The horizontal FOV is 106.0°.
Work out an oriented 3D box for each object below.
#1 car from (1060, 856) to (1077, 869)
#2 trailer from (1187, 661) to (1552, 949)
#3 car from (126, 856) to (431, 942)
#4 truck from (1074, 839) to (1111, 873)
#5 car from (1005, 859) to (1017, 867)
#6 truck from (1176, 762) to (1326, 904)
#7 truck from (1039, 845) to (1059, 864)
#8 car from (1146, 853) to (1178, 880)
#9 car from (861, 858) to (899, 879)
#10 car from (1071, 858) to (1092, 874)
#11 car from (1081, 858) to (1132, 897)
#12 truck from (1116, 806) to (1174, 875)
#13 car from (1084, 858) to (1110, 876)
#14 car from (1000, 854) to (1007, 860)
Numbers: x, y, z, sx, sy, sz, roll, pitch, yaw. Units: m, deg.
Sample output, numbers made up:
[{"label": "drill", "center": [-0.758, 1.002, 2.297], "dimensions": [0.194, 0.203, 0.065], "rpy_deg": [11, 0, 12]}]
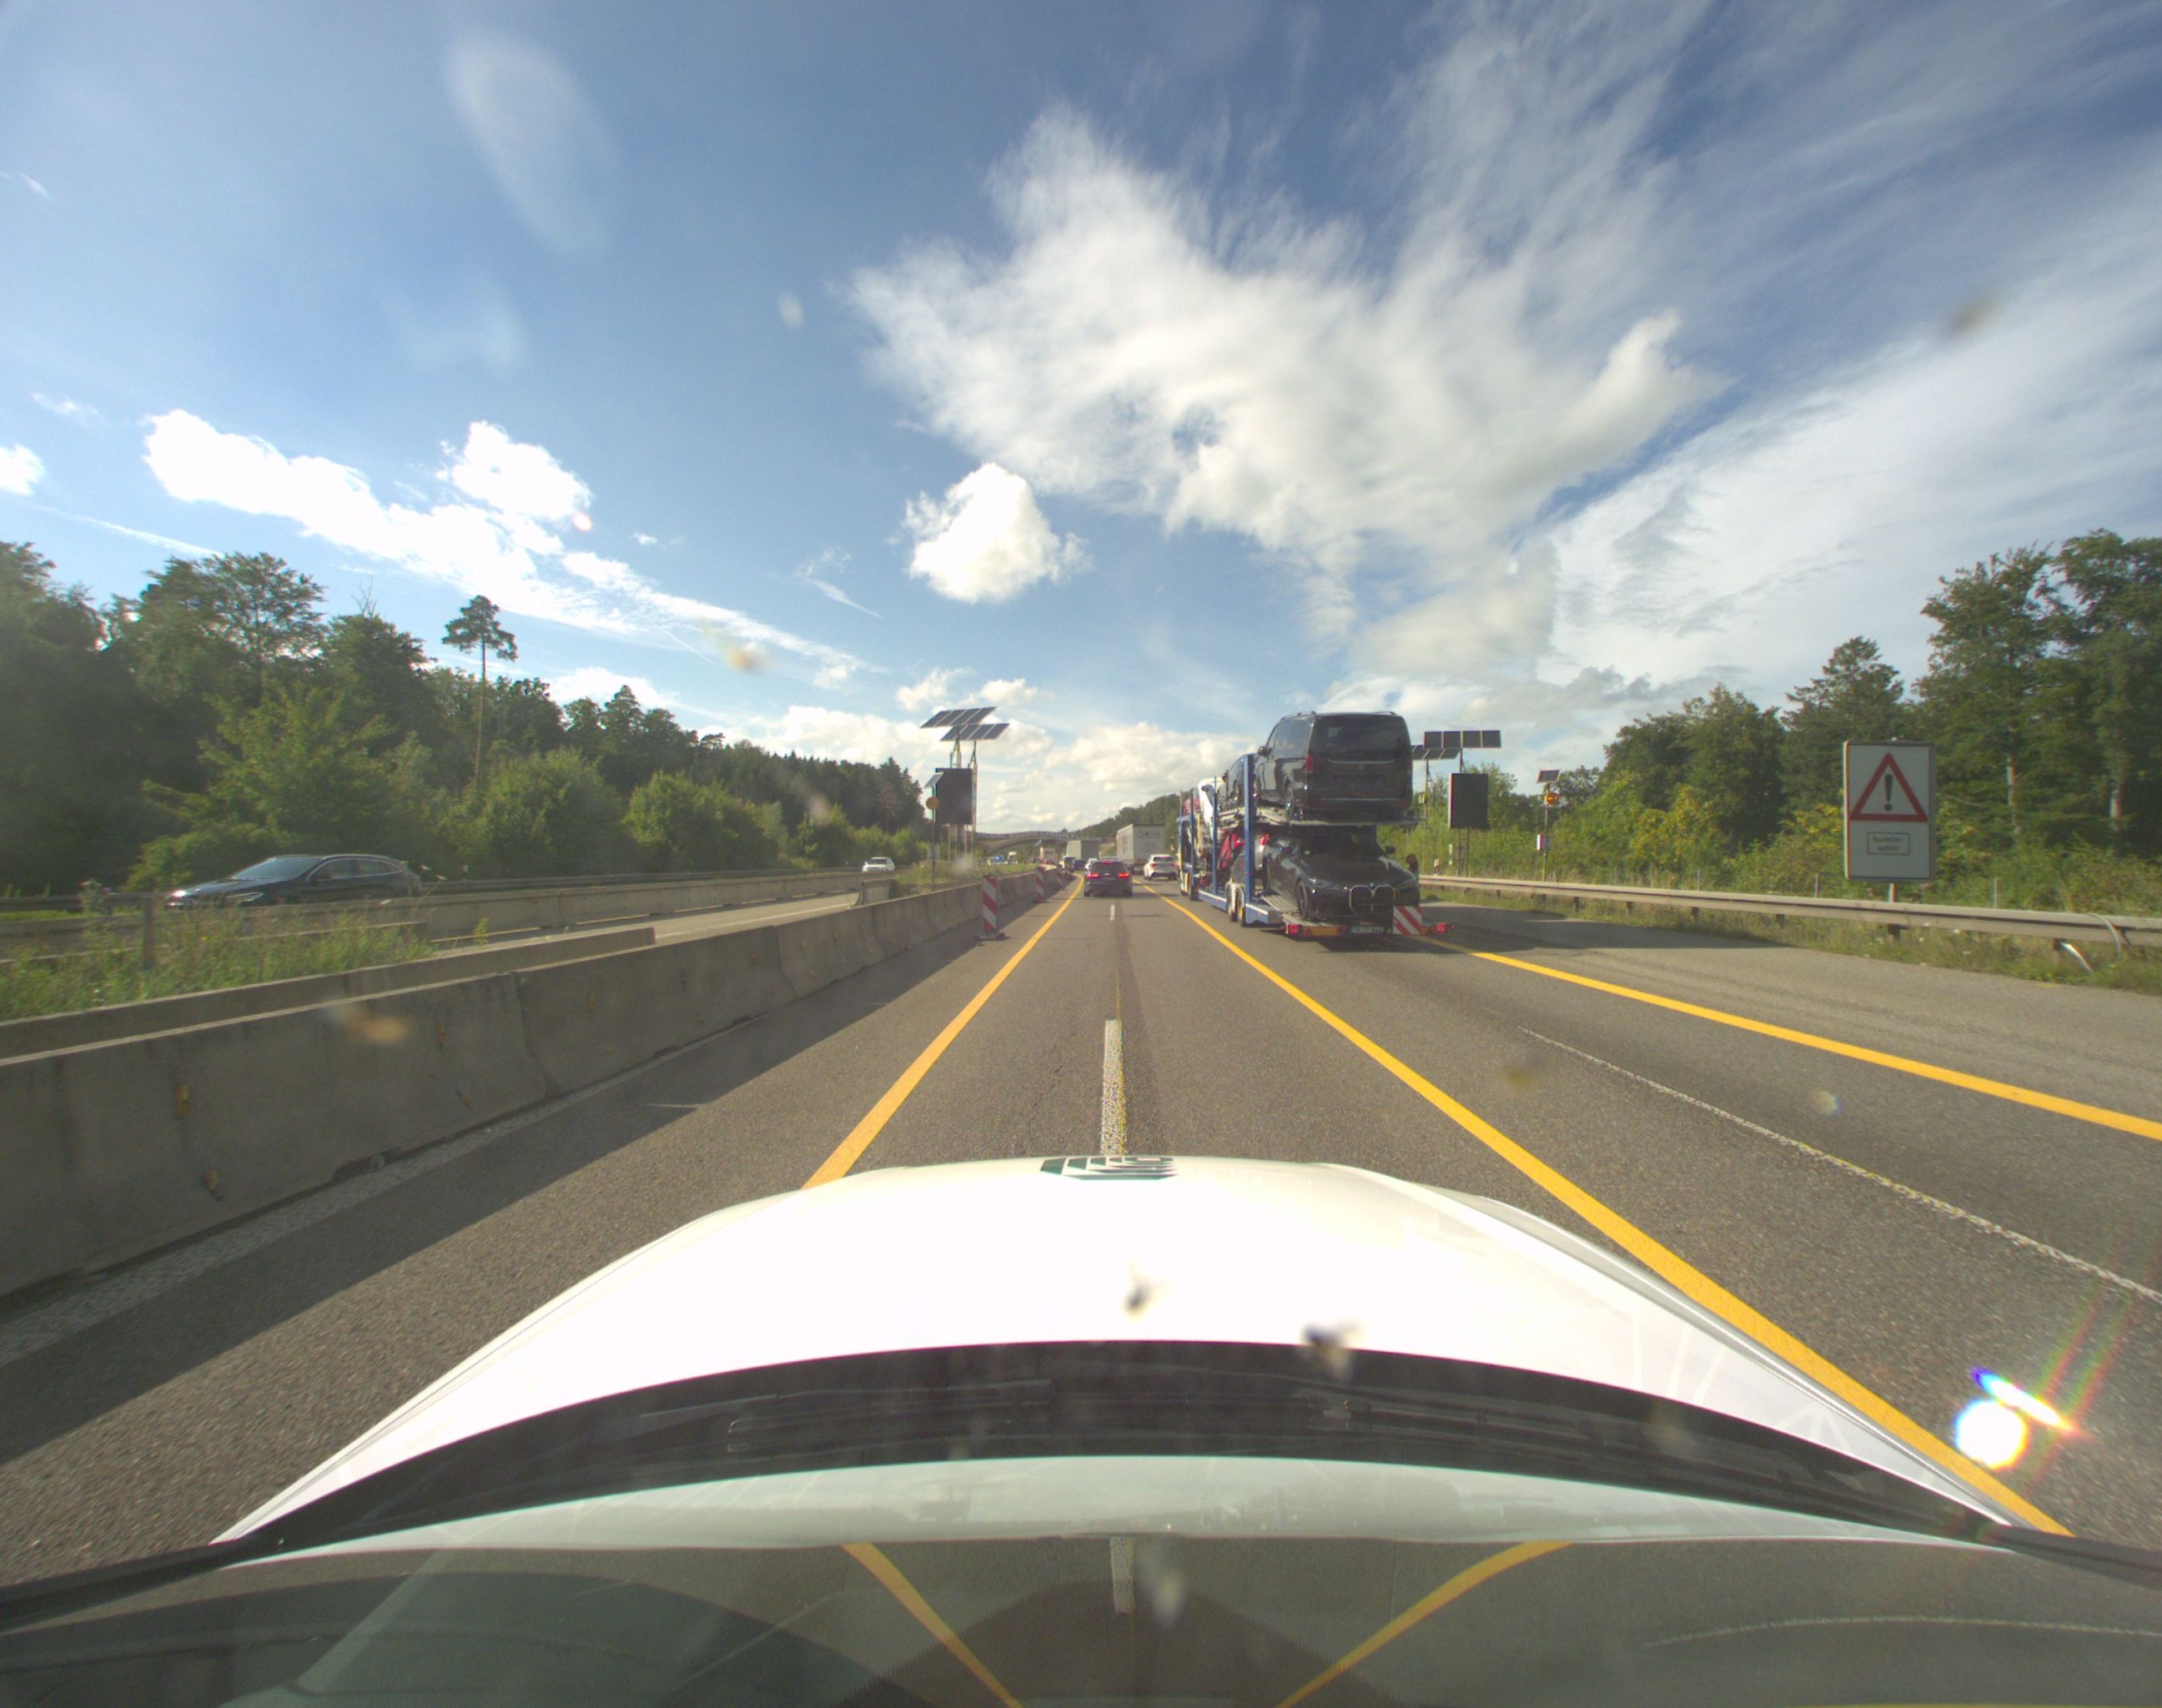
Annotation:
[{"label": "car", "center": [-1.579, 1.063, 101.908], "dimensions": [1.887, 1.643, 4.011], "rpy_deg": [0, 0, -5]}, {"label": "trailer", "center": [5.268, -0.664, 20.034], "dimensions": [3.712, 4.196, 16.233], "rpy_deg": [0, 0, 2]}, {"label": "car", "center": [-16.696, 0.852, 17.370], "dimensions": [1.951, 1.588, 4.484], "rpy_deg": [0, 0, 2]}, {"label": "truck", "center": [1.540, 0.314, 116.977], "dimensions": [4.312, 4.600, 11.106], "rpy_deg": [0, 0, -5]}, {"label": "car", "center": [-14.987, 1.857, 174.774], "dimensions": [1.961, 1.602, 4.947], "rpy_deg": [0, 0, 1]}, {"label": "truck", "center": [5.505, -0.611, 28.167], "dimensions": [3.747, 4.196, 7.954], "rpy_deg": [0, 0, 2]}, {"label": "truck", "center": [-6.859, 0.098, 172.833], "dimensions": [3.650, 3.928, 11.041], "rpy_deg": [0, 0, -6]}, {"label": "car", "center": [5.180, 0.805, 52.310], "dimensions": [1.882, 1.643, 4.021], "rpy_deg": [0, 0, 4]}, {"label": "car", "center": [-15.684, 1.091, 63.821], "dimensions": [1.770, 1.602, 4.021], "rpy_deg": [0, 0, 4]}, {"label": "car", "center": [0.014, 1.269, 88.890], "dimensions": [1.888, 1.643, 4.009], "rpy_deg": [0, 0, -6]}, {"label": "car", "center": [1.071, 0.871, 32.110], "dimensions": [1.882, 1.446, 4.004], "rpy_deg": [0, 0, 4]}, {"label": "truck", "center": [5.336, -1.026, 71.765], "dimensions": [3.666, 5.353, 16.194], "rpy_deg": [0, 0, -1]}, {"label": "car", "center": [1.256, 1.048, 66.250], "dimensions": [1.885, 1.446, 3.996], "rpy_deg": [0, 0, -2]}, {"label": "car", "center": [-24.056, 0.894, 252.877], "dimensions": [1.775, 1.866, 3.998], "rpy_deg": [0, 0, -1]}]
